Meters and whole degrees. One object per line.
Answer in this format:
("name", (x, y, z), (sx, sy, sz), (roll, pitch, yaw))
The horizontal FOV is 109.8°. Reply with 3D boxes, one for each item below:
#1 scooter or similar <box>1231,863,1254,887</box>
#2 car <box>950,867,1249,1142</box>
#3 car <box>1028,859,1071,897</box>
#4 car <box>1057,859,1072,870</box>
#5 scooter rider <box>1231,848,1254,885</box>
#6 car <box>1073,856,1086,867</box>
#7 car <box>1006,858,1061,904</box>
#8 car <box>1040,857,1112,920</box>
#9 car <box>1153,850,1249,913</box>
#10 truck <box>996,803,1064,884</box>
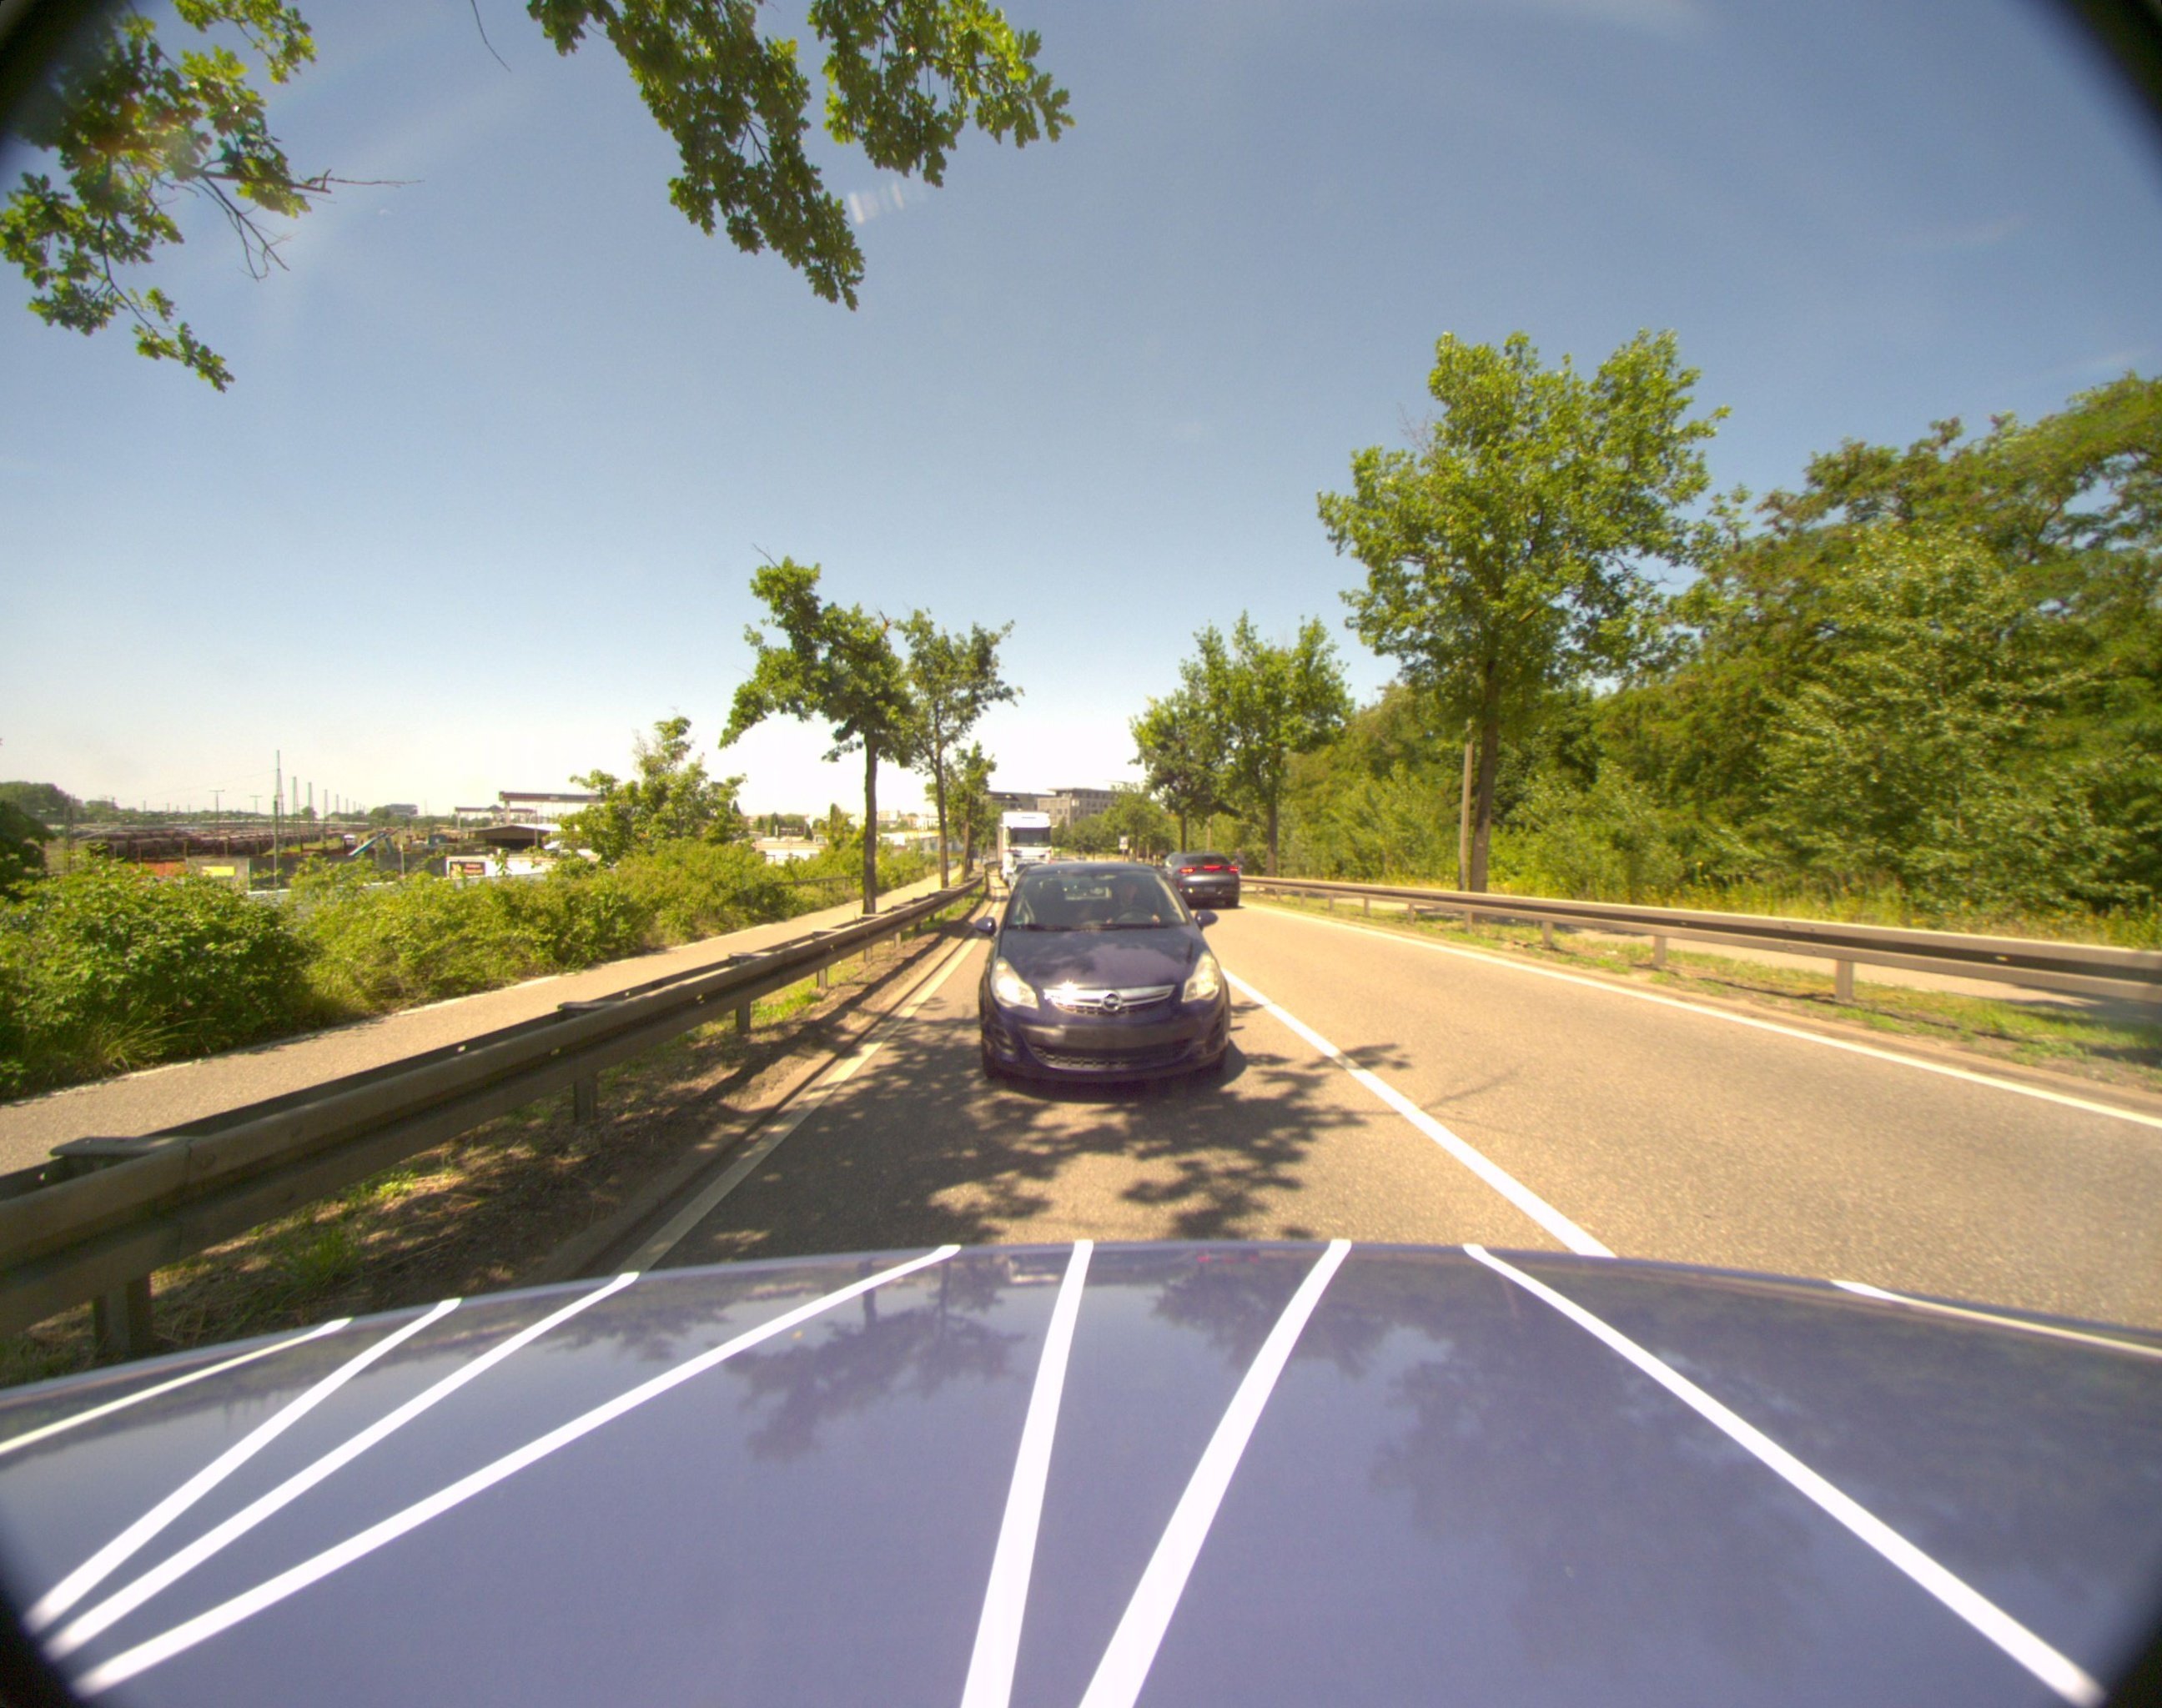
("scooter or similar", (7.519, 0.963, 35.402), (0.779, 1.085, 1.094), (-2, 1, -4))
("car", (0.048, 0.912, 6.380), (1.720, 1.455, 3.836), (-2, 1, -2))
("car", (-1.511, 1.048, 35.132), (1.781, 1.569, 3.998), (-2, 1, -5))
("car", (-3.017, 1.901, 140.217), (1.779, 2.002, 4.003), (-2, 1, 11))
("scooter rider", (7.526, 0.563, 35.393), (0.779, 1.648, 1.120), (-2, 1, -2))
("car", (-0.304, 1.442, 151.940), (1.779, 2.002, 4.003), (-2, 1, 11))
("car", (-1.685, 0.914, 27.374), (1.780, 1.398, 3.998), (-2, 1, -3))
("car", (-0.221, 0.885, 21.254), (1.781, 1.498, 3.894), (-2, 1, -3))
("car", (3.368, 0.744, 22.166), (1.874, 1.594, 4.392), (-2, 0, -3))
("truck", (-3.574, -0.613, 47.893), (3.072, 4.146, 16.898), (-2, 1, -7))
